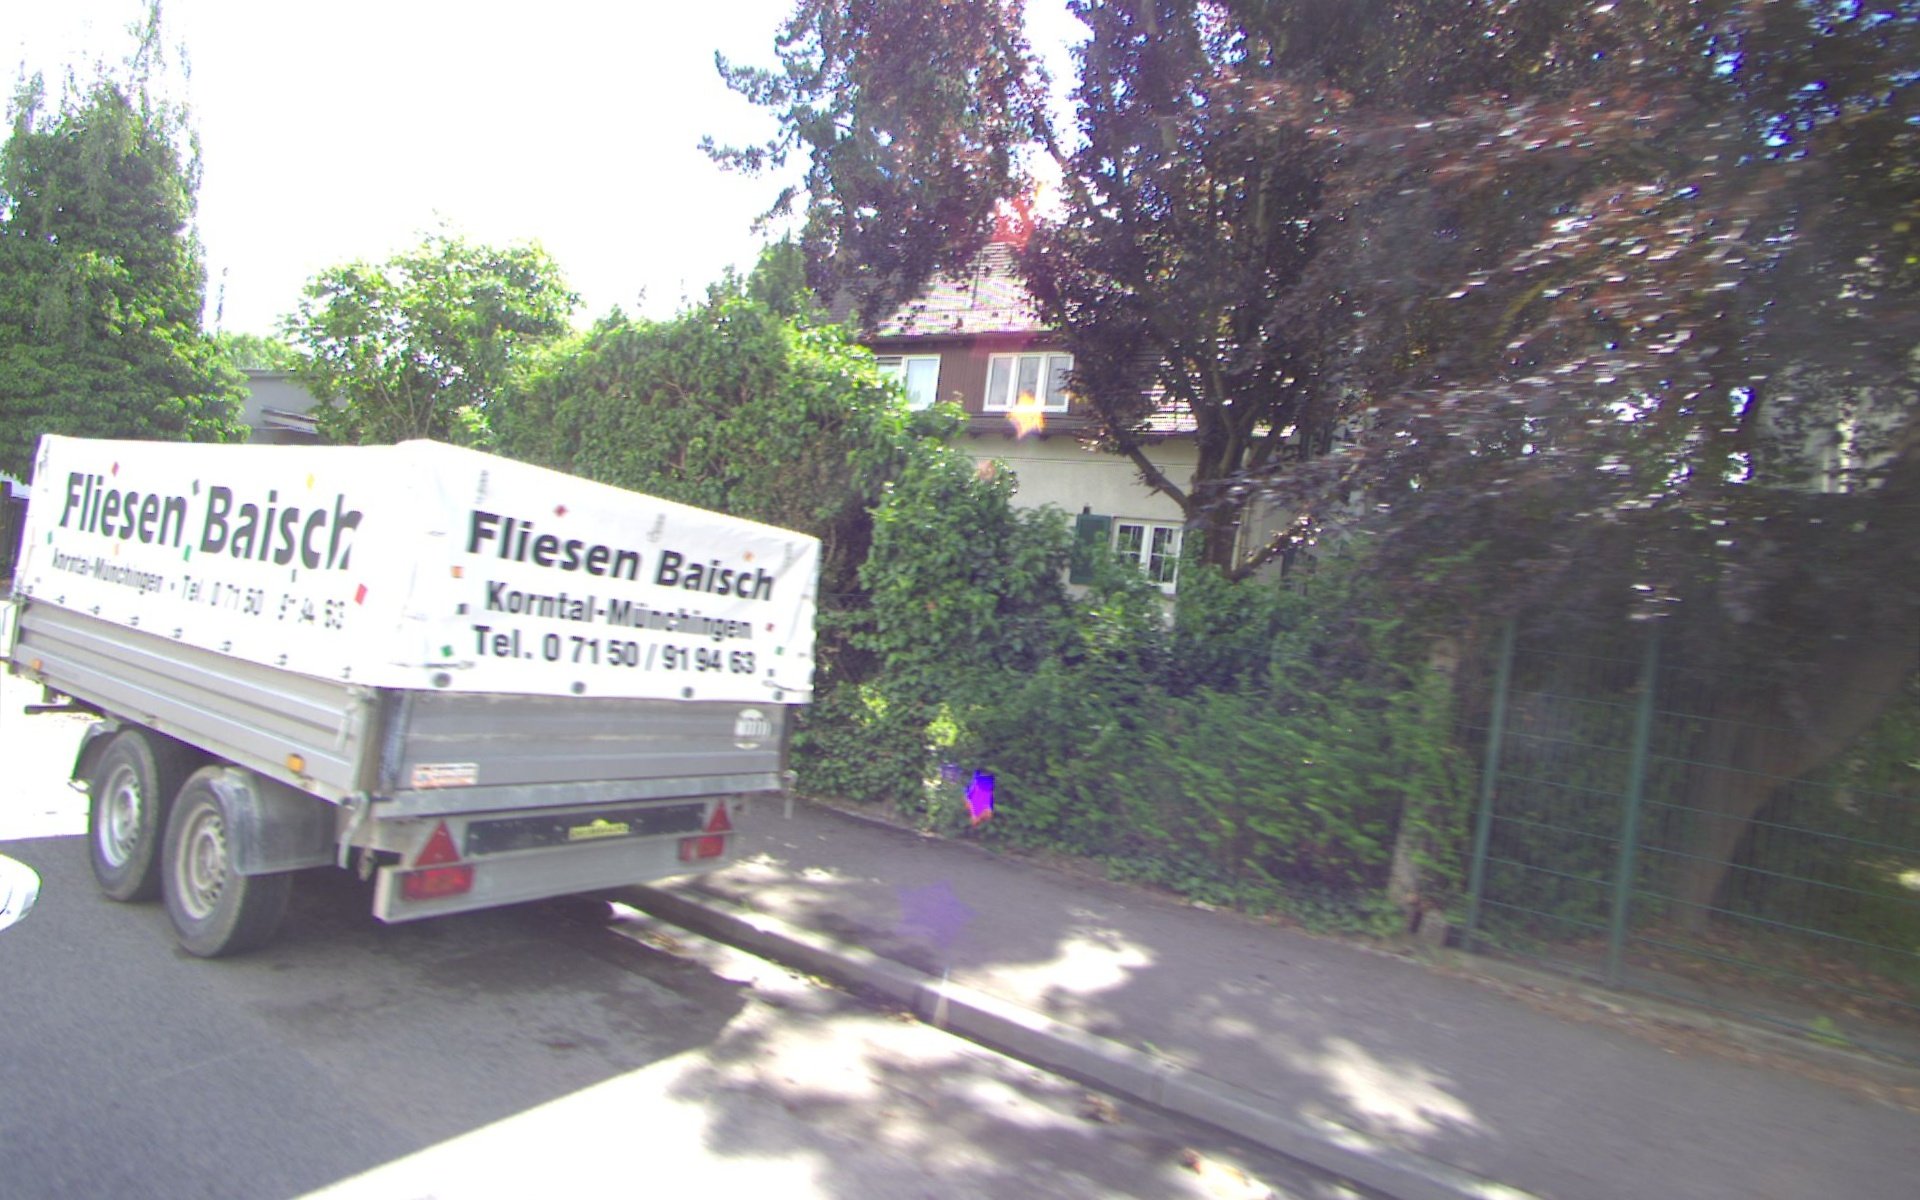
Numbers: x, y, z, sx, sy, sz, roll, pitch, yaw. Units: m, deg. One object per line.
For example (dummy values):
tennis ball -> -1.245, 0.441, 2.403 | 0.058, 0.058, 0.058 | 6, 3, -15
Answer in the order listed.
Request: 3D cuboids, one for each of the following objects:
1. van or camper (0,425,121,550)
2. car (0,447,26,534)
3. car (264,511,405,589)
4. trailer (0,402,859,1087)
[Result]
van or camper -> -28.437, -3.454, 30.046 | 6.797, 3.099, 2.885 | 7, 0, 31
car -> -33.383, -3.902, 33.287 | 5.404, 2.715, 2.020 | 8, 1, 30
car -> -19.633, -1.597, 31.505 | 4.733, 1.774, 1.819 | 9, 1, 33
trailer -> -3.041, 0.257, 4.786 | 4.686, 1.844, 1.997 | 7, -2, 32
